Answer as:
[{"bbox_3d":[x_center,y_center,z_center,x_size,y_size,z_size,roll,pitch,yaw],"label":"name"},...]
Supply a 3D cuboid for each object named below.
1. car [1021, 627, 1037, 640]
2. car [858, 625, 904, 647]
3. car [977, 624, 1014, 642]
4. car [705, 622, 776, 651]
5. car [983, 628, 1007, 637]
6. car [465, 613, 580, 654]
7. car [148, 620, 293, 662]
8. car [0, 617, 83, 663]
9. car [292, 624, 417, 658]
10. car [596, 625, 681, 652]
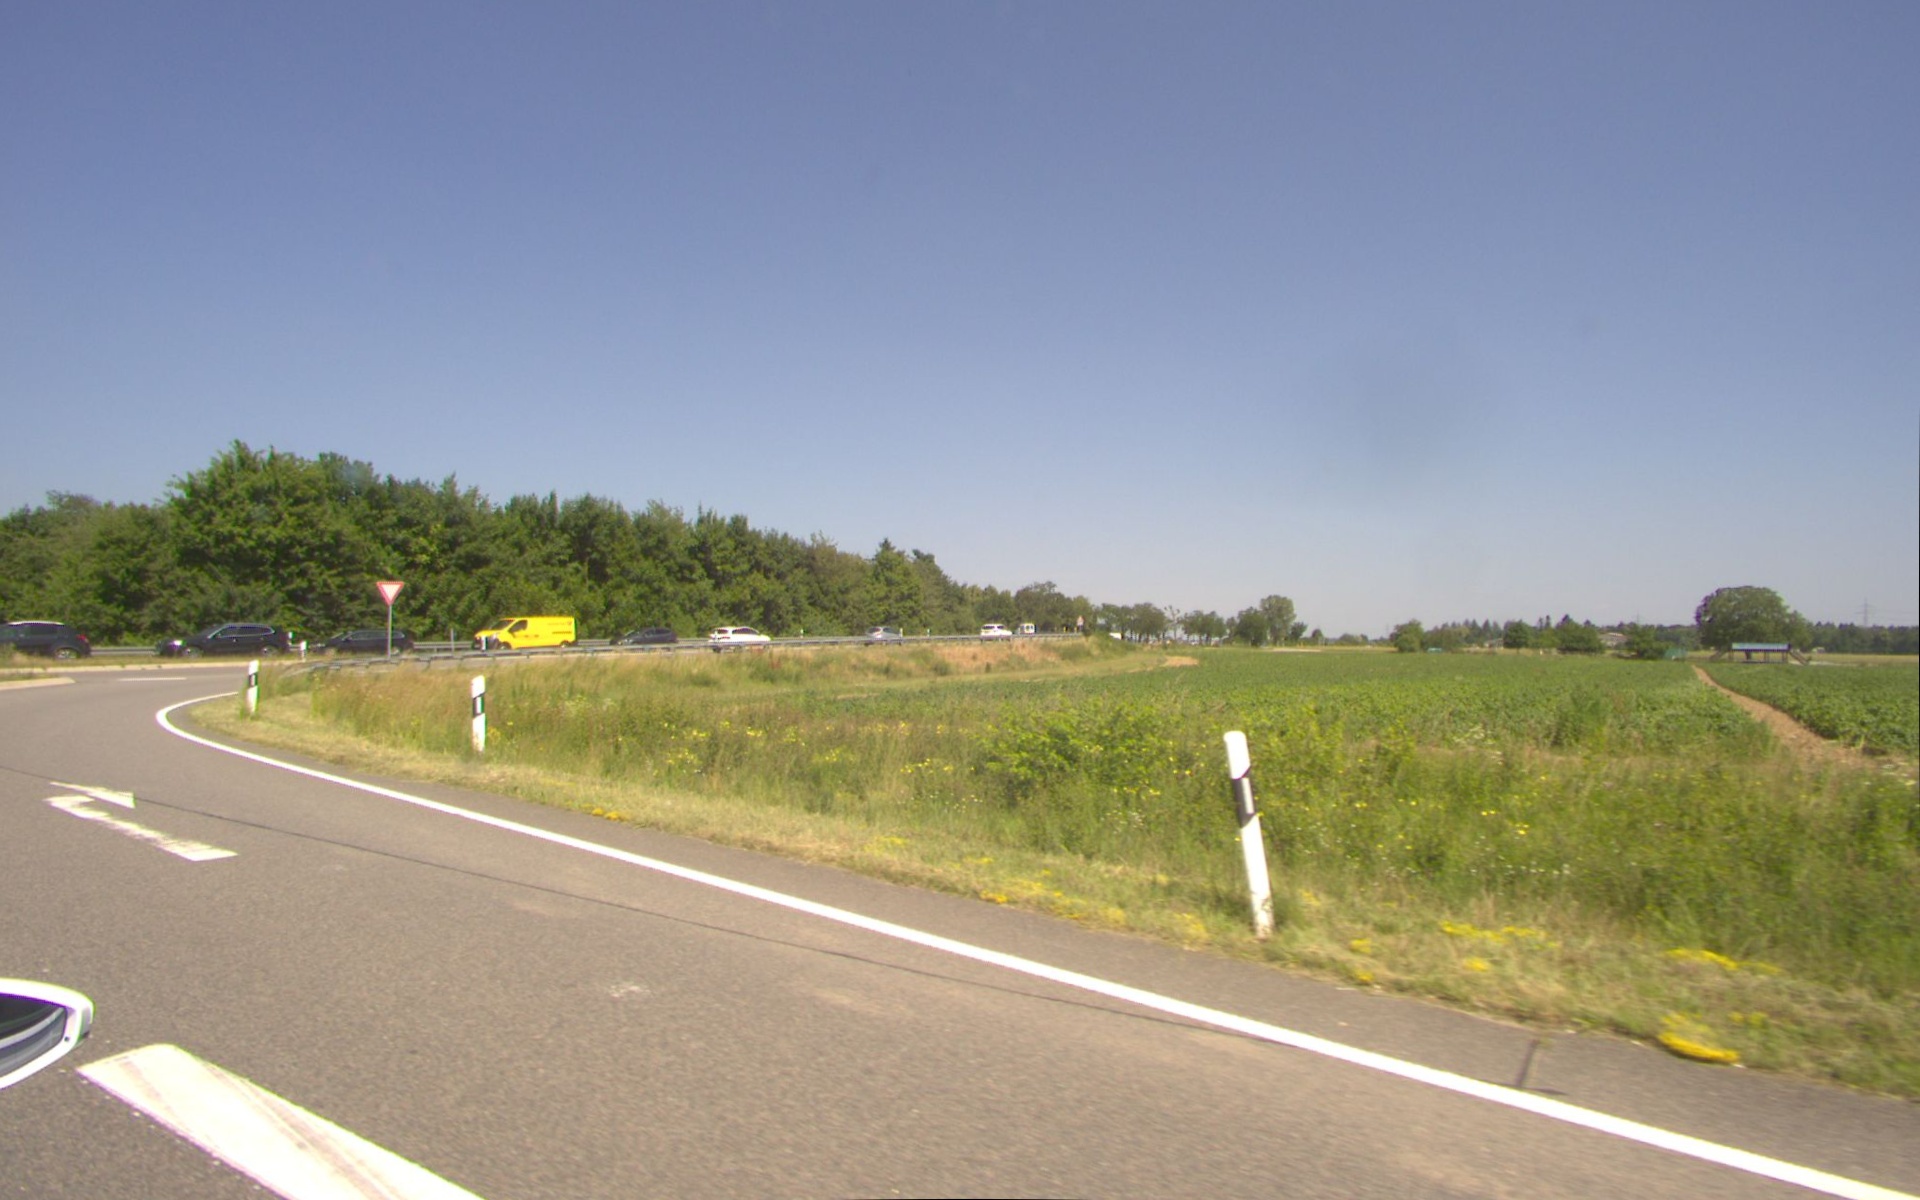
[{"bbox_3d":[9.100,4.445,132.479,1.684,1.589,4.001,0,-2,-4],"label":"car"},{"bbox_3d":[-5.810,2.626,74.285,1.713,1.587,3.679,-1,-2,28],"label":"car"},{"bbox_3d":[3.290,3.038,91.514,1.711,1.587,4.470,-1,-2,25],"label":"car"},{"bbox_3d":[-12.882,2.136,59.047,1.712,1.587,4.466,-1,0,26],"label":"car"},{"bbox_3d":[4.890,4.645,142.125,1.691,1.204,3.984,1,-3,-27],"label":"car"},{"bbox_3d":[-22.770,1.748,52.293,1.972,2.039,5.311,-1,-2,33],"label":"car"},{"bbox_3d":[-30.286,1.661,41.130,1.744,1.618,4.475,-1,-2,35],"label":"car"},{"bbox_3d":[-35.248,1.480,37.029,1.818,1.661,3.971,-1,-2,38],"label":"car"},{"bbox_3d":[-28.278,1.884,46.887,1.831,1.533,4.663,-1,-2,39],"label":"car"},{"bbox_3d":[-18.795,2.229,58.719,1.828,1.533,4.671,-1,-2,34],"label":"car"}]
